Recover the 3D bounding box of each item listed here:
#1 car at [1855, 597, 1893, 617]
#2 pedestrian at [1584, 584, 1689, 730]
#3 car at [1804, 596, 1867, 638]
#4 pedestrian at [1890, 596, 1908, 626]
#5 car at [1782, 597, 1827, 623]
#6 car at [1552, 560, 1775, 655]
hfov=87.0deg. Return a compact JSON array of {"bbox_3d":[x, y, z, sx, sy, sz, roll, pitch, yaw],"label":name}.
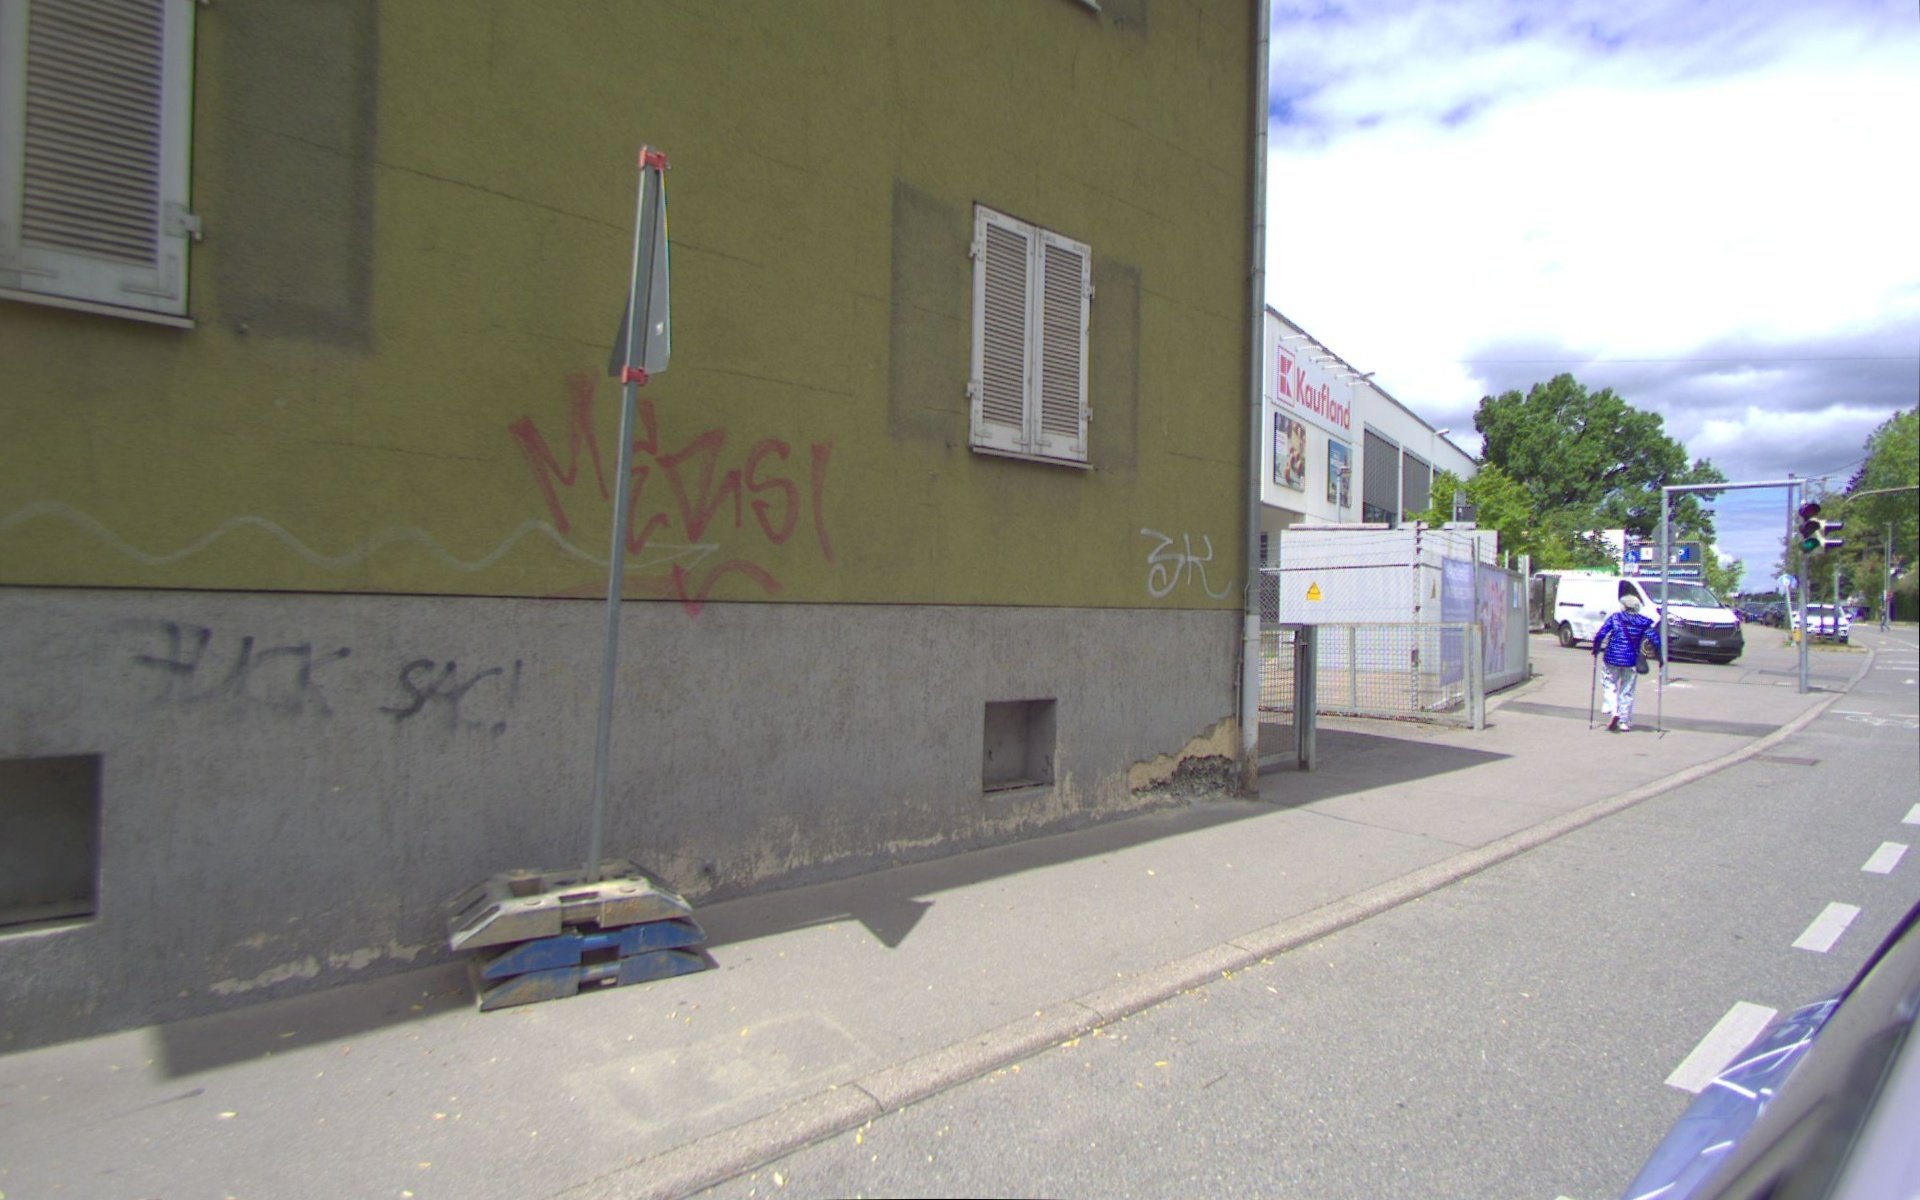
[{"bbox_3d":[75.109,0.582,83.227,1.839,1.575,3.900,-1,0,35],"label":"car"},{"bbox_3d":[7.886,0.626,11.793,0.824,1.591,0.972,2,1,44],"label":"pedestrian"},{"bbox_3d":[35.600,0.649,41.225,1.788,1.549,3.865,4,3,40],"label":"car"},{"bbox_3d":[55.016,0.645,59.310,0.546,1.694,0.584,-1,-1,20],"label":"pedestrian"},{"bbox_3d":[52.896,0.625,63.457,1.694,1.551,3.952,-1,0,34],"label":"car"},{"bbox_3d":[17.100,0.106,25.034,1.964,2.048,5.348,1,1,3],"label":"car"}]
